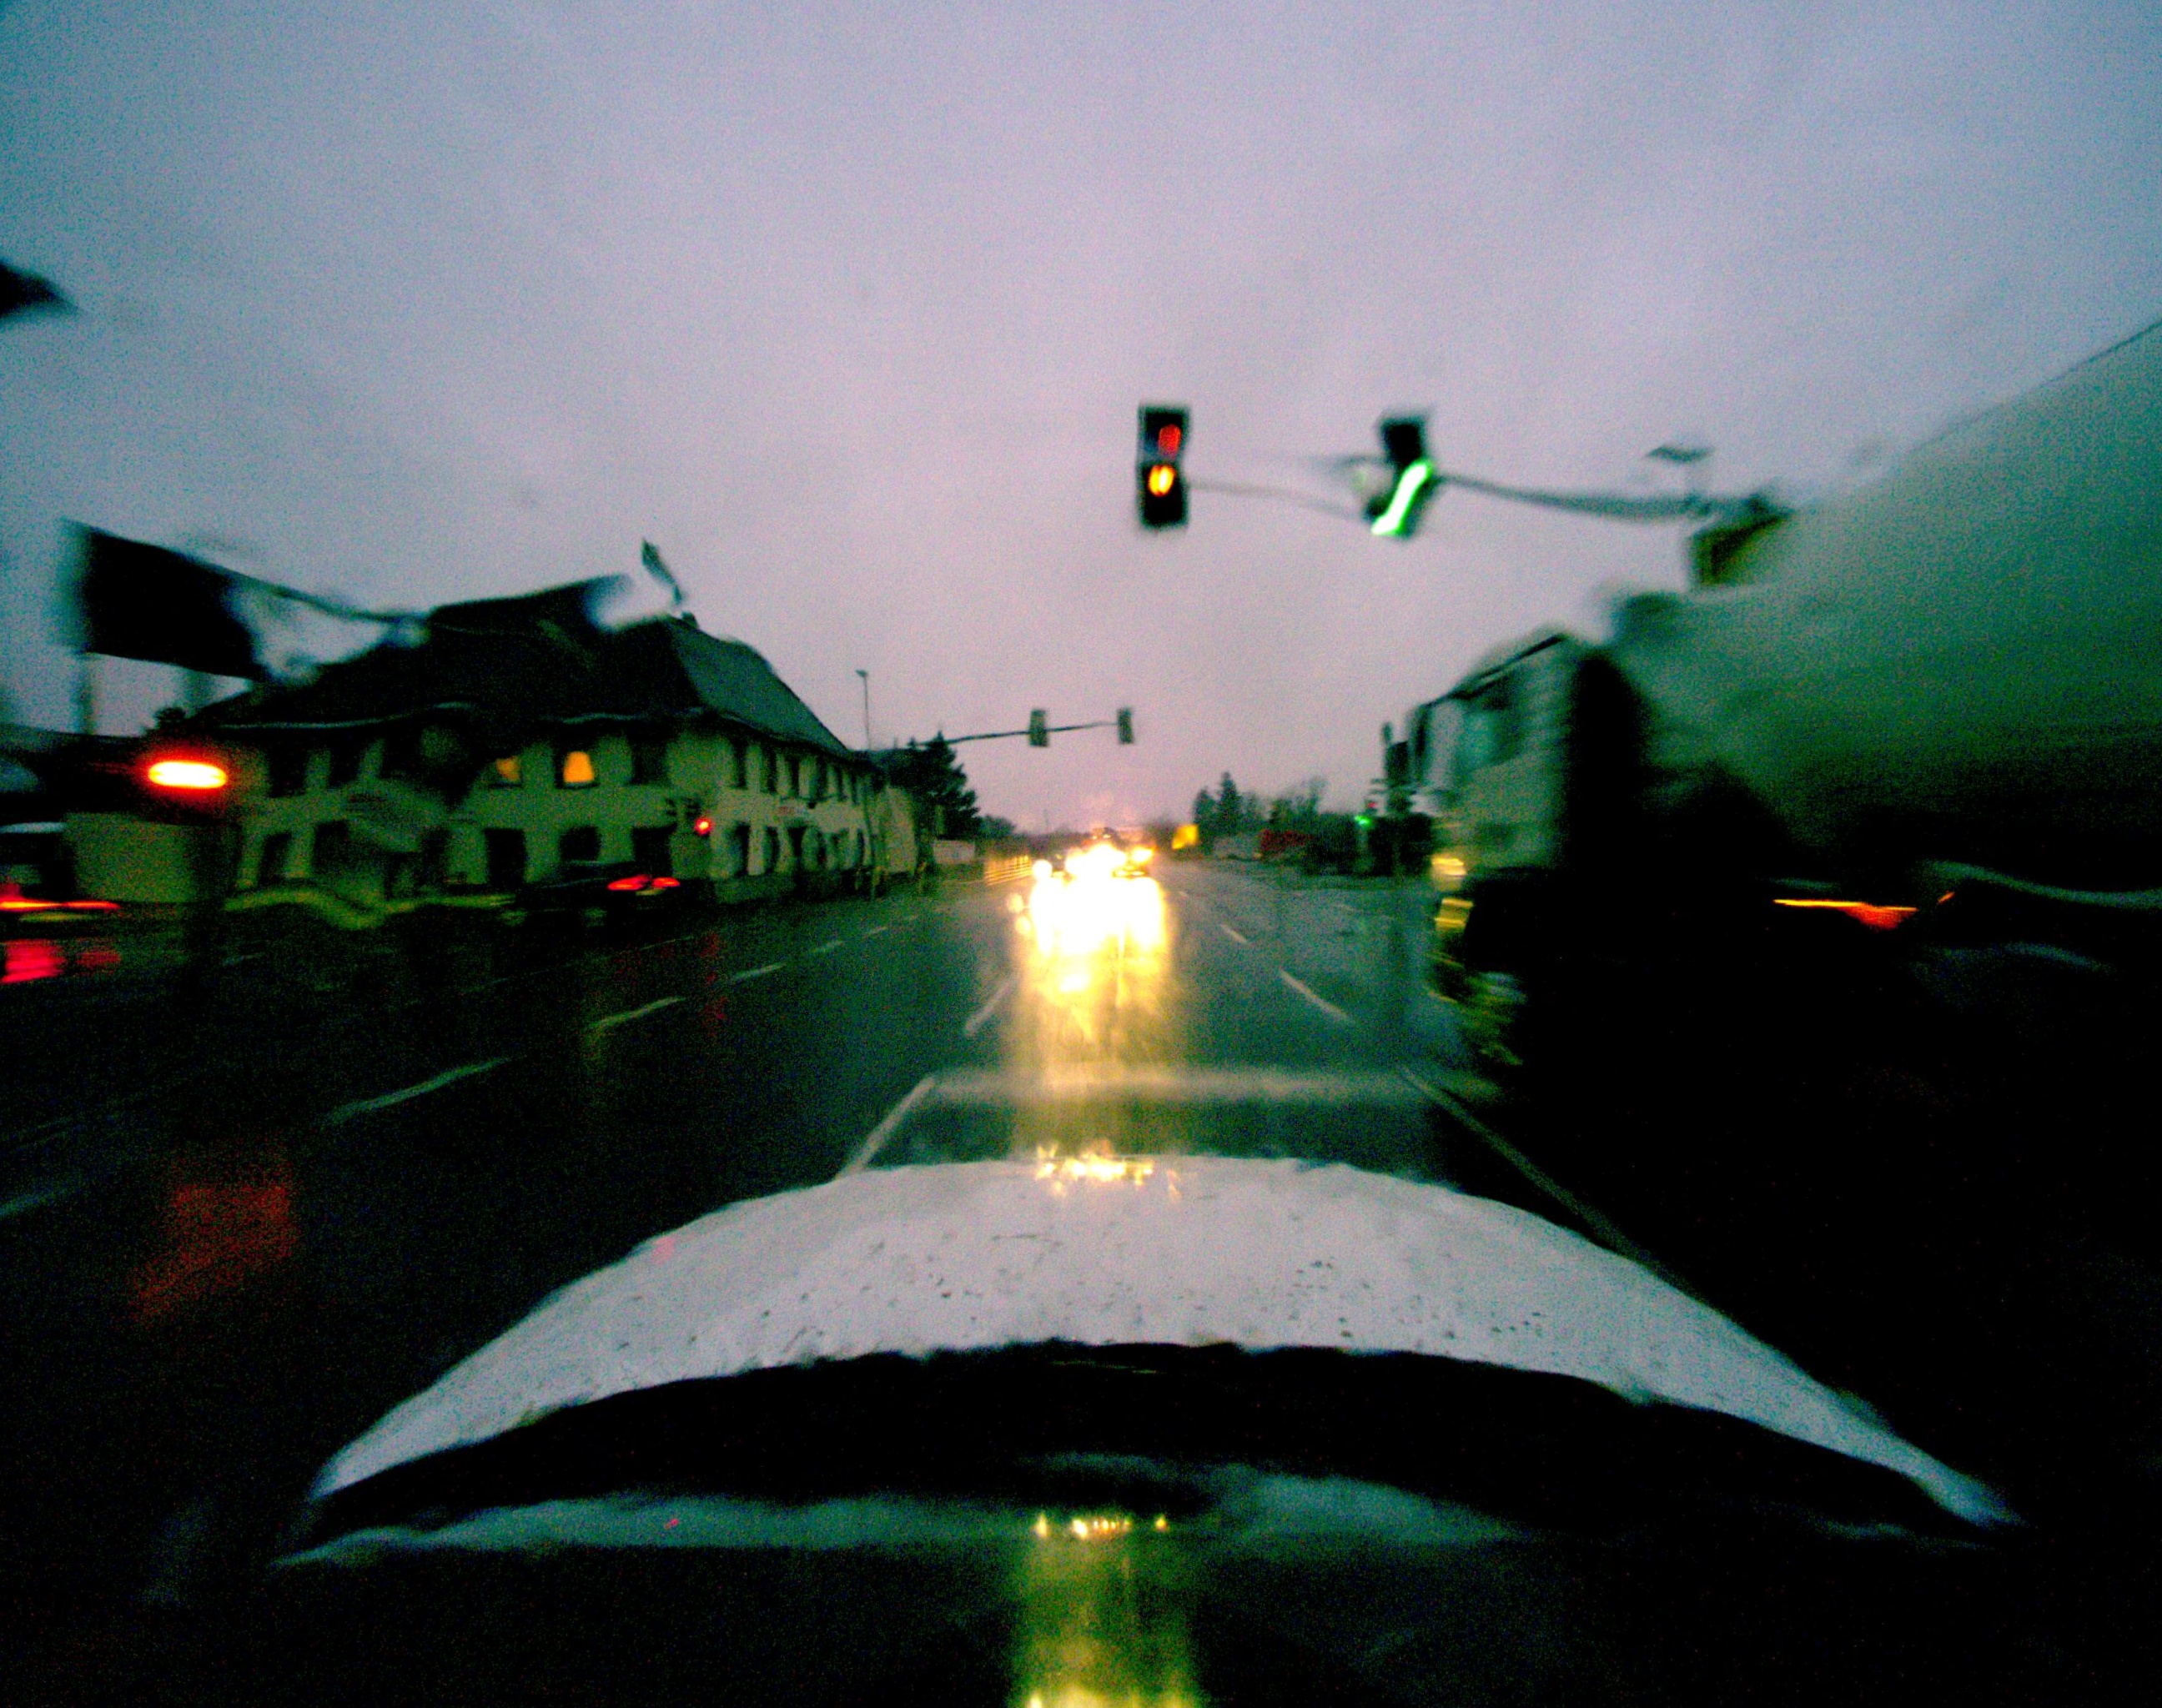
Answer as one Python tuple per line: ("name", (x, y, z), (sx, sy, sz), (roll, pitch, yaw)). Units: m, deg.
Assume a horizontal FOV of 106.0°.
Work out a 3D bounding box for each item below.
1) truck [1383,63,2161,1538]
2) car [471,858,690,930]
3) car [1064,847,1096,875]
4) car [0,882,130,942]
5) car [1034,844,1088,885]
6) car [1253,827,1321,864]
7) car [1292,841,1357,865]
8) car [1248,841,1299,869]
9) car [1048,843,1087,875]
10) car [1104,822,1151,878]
("truck", (3.710, -0.133, 3.936), (2.451, 3.229, 6.278), (-1, 0, 3))
("car", (-12.471, 0.995, 20.355), (4.650, 1.573, 2.063), (-2, 0, 17))
("car", (-0.033, 0.445, 54.310), (1.713, 1.723, 3.934), (-2, -1, 5))
("car", (-28.554, 1.559, 22.216), (3.209, 1.508, 1.547), (0, 1, -3))
("car", (-0.874, 0.467, 38.645), (1.983, 1.746, 4.007), (-3, 0, 6))
("car", (17.655, -0.730, 69.763), (5.242, 2.870, 1.774), (-3, 0, -4))
("car", (18.663, -0.091, 62.531), (4.502, 1.530, 1.781), (-3, 0, 7))
("car", (15.742, 0.053, 66.637), (3.960, 2.013, 2.007), (-3, 0, 12))
("car", (-0.733, 0.246, 47.483), (1.818, 1.769, 3.759), (-2, 1, 5))
("car", (2.569, -0.201, 45.437), (2.391, 2.892, 6.254), (1, 0, 3))
